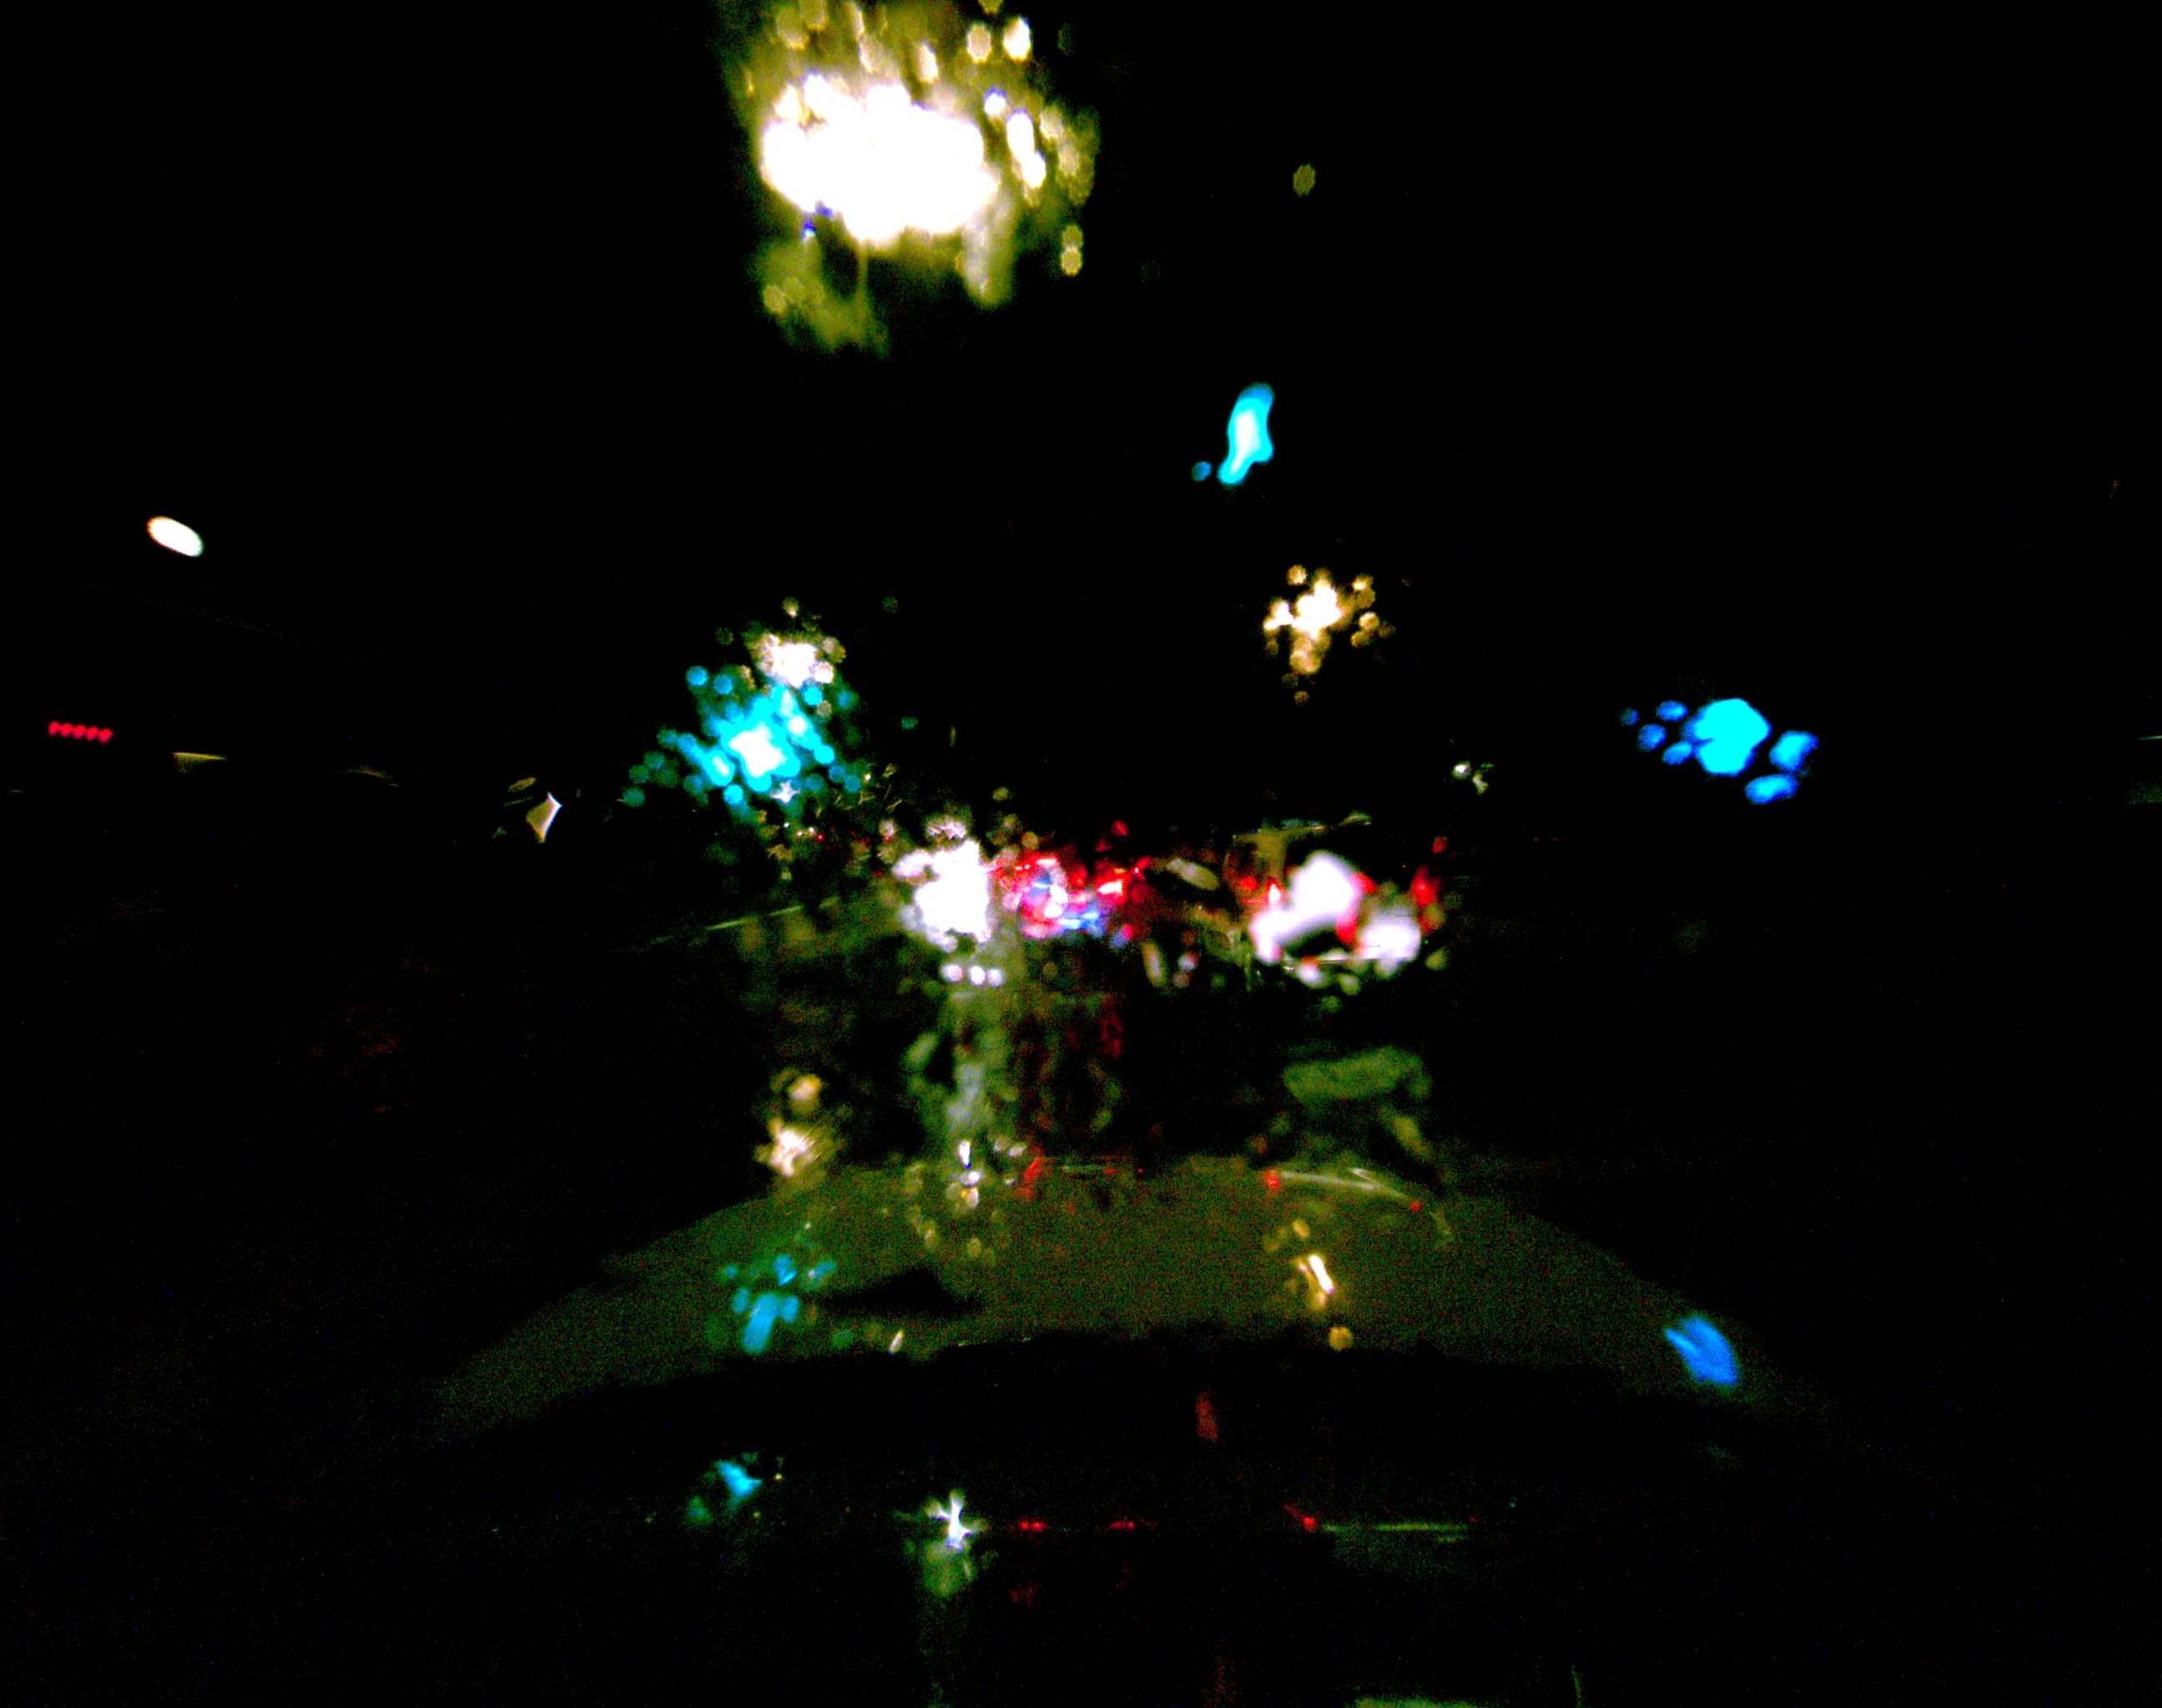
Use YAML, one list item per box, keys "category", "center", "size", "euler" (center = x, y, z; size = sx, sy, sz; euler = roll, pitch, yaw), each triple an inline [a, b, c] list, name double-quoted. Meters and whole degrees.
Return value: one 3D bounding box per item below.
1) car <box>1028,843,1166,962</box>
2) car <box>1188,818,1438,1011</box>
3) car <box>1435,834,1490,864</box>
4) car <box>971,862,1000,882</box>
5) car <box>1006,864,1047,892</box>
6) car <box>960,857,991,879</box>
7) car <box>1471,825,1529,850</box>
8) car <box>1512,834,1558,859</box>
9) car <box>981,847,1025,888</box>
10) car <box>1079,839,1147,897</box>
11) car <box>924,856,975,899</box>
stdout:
- category: "car"
  center: [0.216, 0.715, 14.124]
  size: [2.008, 1.717, 4.450]
  euler: [0, 0, -1]
- category: "car"
  center: [2.533, 0.590, 10.051]
  size: [1.846, 1.865, 4.340]
  euler: [0, 0, 0]
- category: "car"
  center: [23.163, -0.266, 49.608]
  size: [1.855, 1.646, 3.971]
  euler: [-3, -1, 7]
- category: "car"
  center: [-8.574, 1.595, 72.861]
  size: [1.997, 1.670, 3.979]
  euler: [0, 0, -16]
- category: "car"
  center: [-3.558, 1.502, 52.579]
  size: [1.996, 1.718, 3.982]
  euler: [0, 0, -13]
- category: "car"
  center: [-8.356, 1.082, 64.288]
  size: [1.996, 1.732, 3.981]
  euler: [0, 0, -14]
- category: "car"
  center: [34.685, -1.351, 67.512]
  size: [3.958, 2.014, 2.008]
  euler: [0, 0, 14]
- category: "car"
  center: [31.286, -0.494, 56.236]
  size: [1.759, 1.669, 4.085]
  euler: [0, 0, 14]
- category: "car"
  center: [-4.006, 0.659, 41.374]
  size: [1.993, 2.014, 3.988]
  euler: [0, 0, -9]
- category: "car"
  center: [1.145, 0.512, 31.051]
  size: [1.967, 2.047, 3.991]
  euler: [0, 0, -7]
- category: "car"
  center: [-6.263, 1.041, 38.436]
  size: [2.017, 1.887, 4.431]
  euler: [0, 0, -14]
